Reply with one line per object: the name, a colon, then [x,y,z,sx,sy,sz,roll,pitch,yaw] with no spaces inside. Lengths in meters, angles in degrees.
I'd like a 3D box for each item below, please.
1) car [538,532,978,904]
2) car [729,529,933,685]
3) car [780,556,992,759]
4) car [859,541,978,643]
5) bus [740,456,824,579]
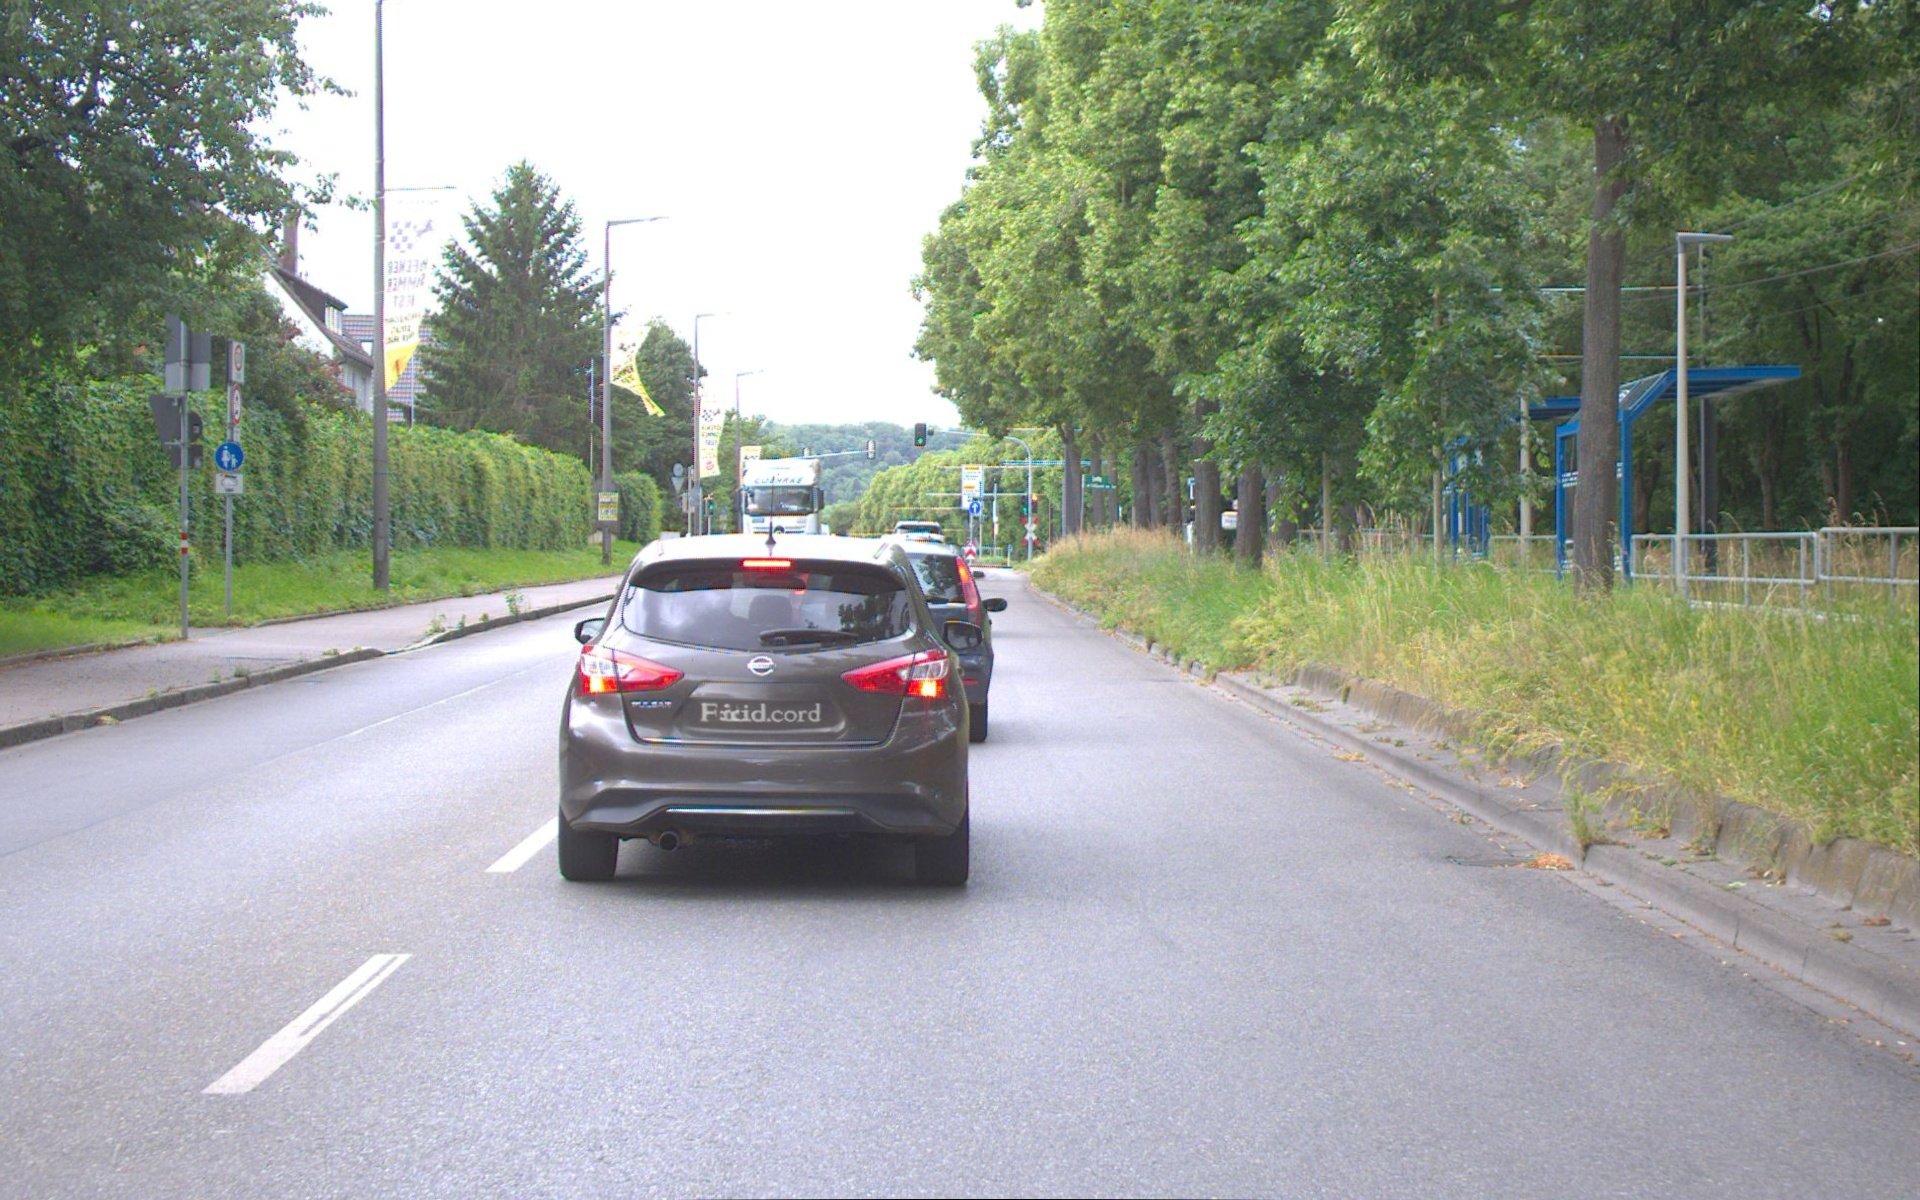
car: [-0.844,0.470,15.937,1.783,1.502,3.696,1,0,0]
car: [-1.322,0.069,36.655,1.993,1.481,4.000,3,0,-1]
car: [-0.565,0.390,26.541,1.502,1.436,3.542,1,1,-1]
car: [-0.635,-0.142,51.453,1.691,1.436,3.542,1,1,-1]
bus: [-6.068,-2.802,118.323,2.487,4.012,10.218,1,1,-1]
